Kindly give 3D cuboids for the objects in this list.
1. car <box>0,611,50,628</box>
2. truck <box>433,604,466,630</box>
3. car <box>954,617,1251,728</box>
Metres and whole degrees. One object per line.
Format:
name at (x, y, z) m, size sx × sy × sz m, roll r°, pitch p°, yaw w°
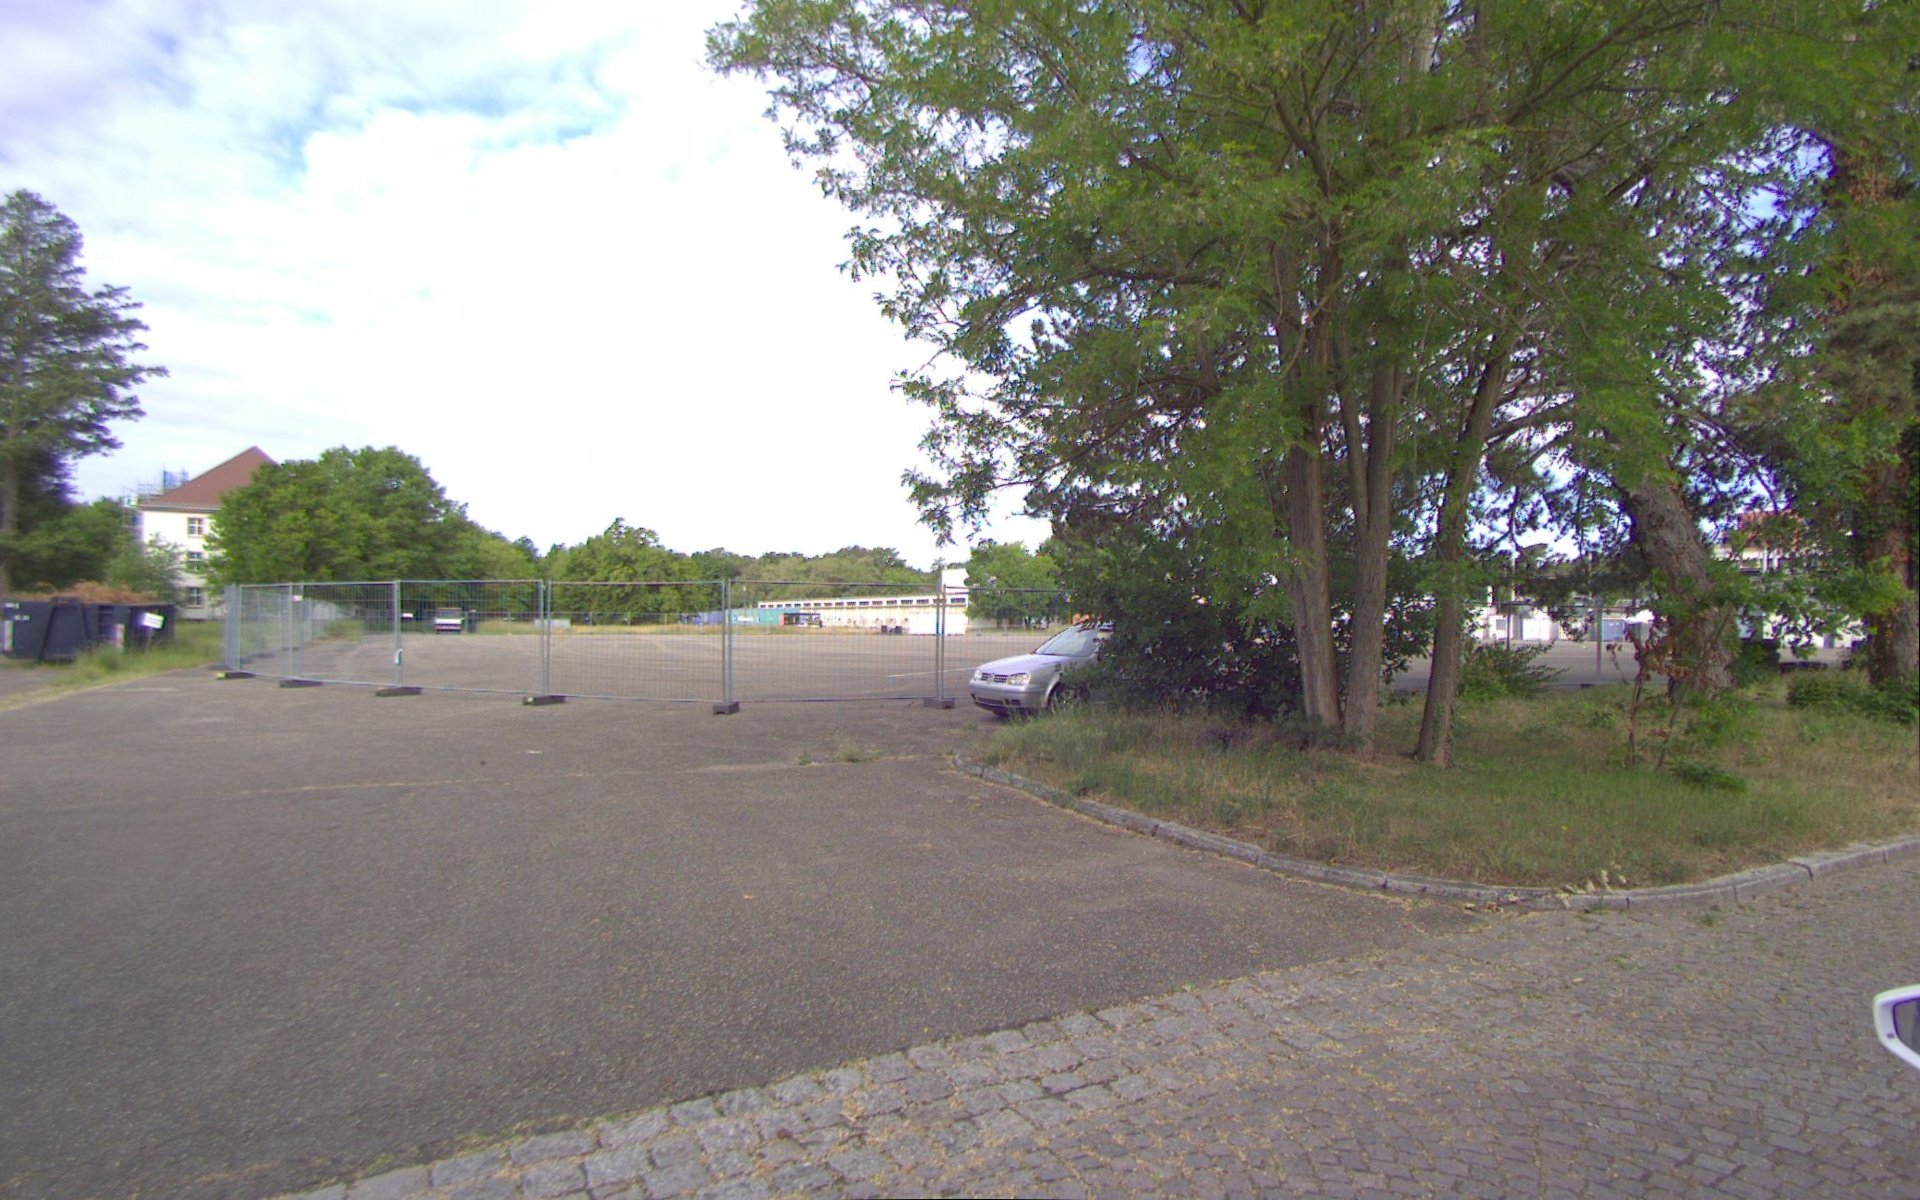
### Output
car at (-94.741, 1.967, 101.013) m, size 4.534 × 1.654 × 1.825 m, roll 1°, pitch -1°, yaw -32°
truck at (-46.490, 1.555, 91.424) m, size 2.346 × 2.227 × 6.504 m, roll 1°, pitch -1°, yaw -29°
car at (2.223, 1.000, 15.187) m, size 4.417 × 1.457 × 1.706 m, roll 1°, pitch -1°, yaw -32°
